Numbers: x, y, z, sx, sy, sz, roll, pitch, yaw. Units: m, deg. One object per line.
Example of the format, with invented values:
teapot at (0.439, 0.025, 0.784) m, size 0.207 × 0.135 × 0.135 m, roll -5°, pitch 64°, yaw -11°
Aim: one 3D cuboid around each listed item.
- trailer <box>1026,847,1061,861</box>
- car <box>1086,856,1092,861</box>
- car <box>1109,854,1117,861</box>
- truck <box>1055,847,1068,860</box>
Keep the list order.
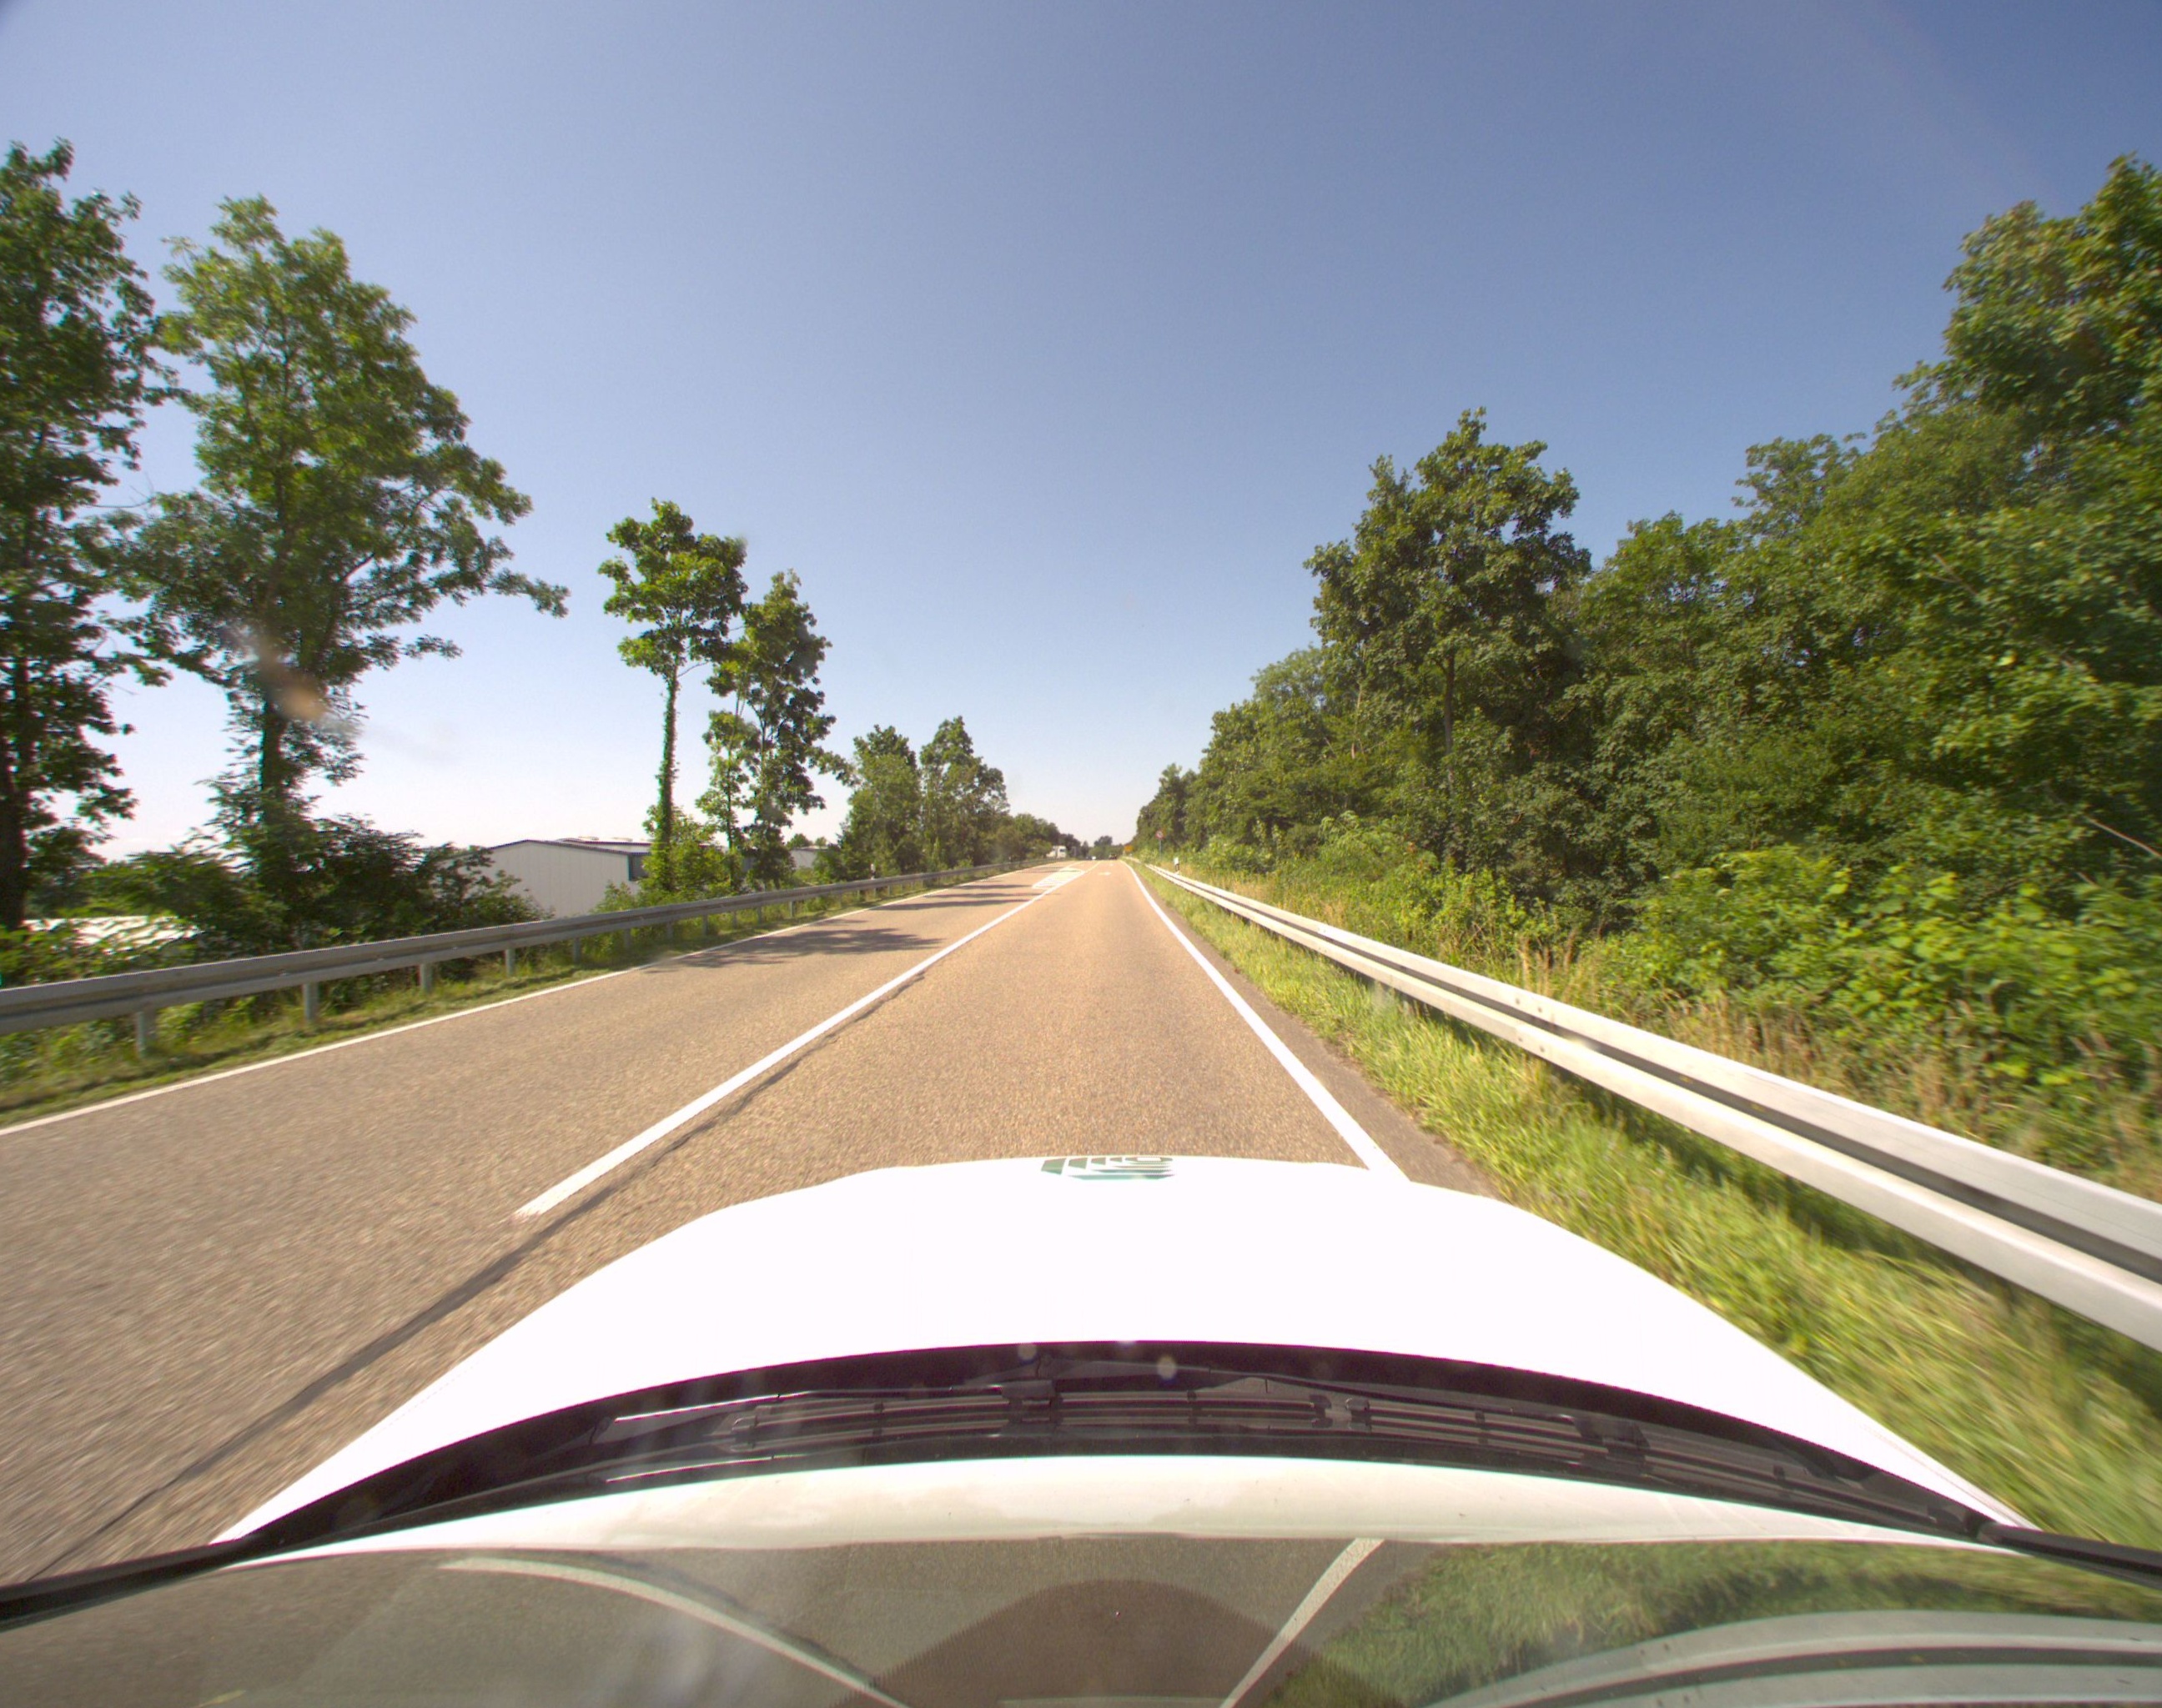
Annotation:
trailer at (-10.127, -0.085, 220.691) m, size 9.063 × 3.578 × 2.002 m, roll -1°, pitch 0°, yaw 3°
car at (2.460, 1.435, 256.810) m, size 1.724 × 1.267 × 3.907 m, roll -1°, pitch 0°, yaw 2°
car at (7.502, 0.801, 191.141) m, size 1.734 × 1.470 × 3.694 m, roll -1°, pitch 0°, yaw 2°
truck at (-5.228, -0.169, 220.410) m, size 3.450 × 3.537 × 2.002 m, roll -1°, pitch 0°, yaw 3°
